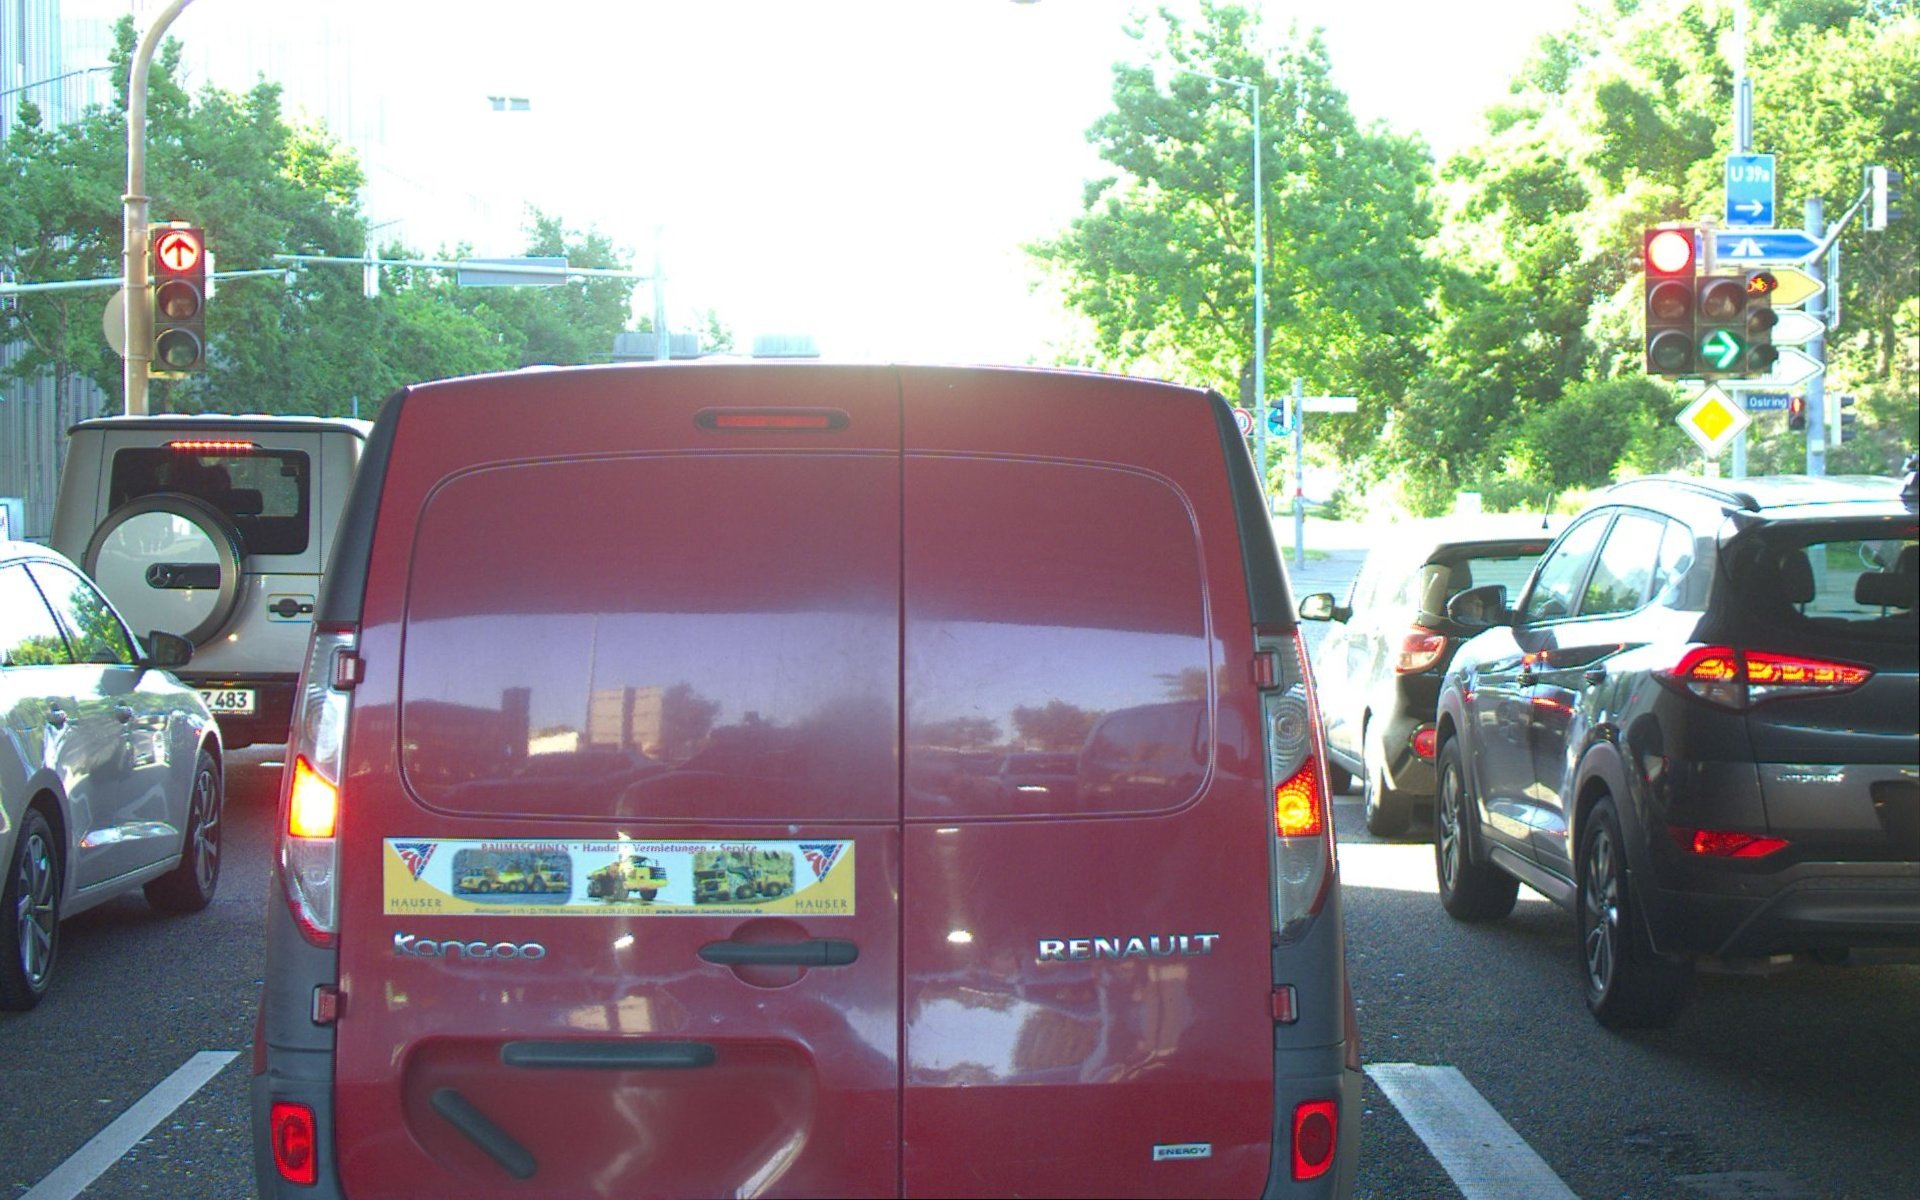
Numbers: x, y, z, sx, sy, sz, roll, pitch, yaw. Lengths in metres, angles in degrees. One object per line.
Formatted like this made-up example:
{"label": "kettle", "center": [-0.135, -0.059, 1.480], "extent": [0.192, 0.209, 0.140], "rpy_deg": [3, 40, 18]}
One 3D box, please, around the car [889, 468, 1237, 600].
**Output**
{"label": "car", "center": [1.305, -0.849, 44.876], "extent": [4.346, 1.602, 2.000], "rpy_deg": [1, 1, -3]}

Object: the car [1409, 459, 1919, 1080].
{"label": "car", "center": [2.686, 0.422, 11.226], "extent": [1.778, 1.650, 3.991], "rpy_deg": [2, 1, -1]}

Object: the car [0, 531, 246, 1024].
{"label": "car", "center": [-3.619, 0.472, 11.511], "extent": [1.692, 1.405, 3.813], "rpy_deg": [1, 1, -1]}

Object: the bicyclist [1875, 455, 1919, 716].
{"label": "bicyclist", "center": [6.188, -0.088, 21.778], "extent": [0.677, 1.623, 0.644], "rpy_deg": [1, 0, 10]}

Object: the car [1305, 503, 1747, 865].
{"label": "car", "center": [2.699, 0.316, 17.172], "extent": [1.652, 1.546, 3.864], "rpy_deg": [1, 2, 2]}

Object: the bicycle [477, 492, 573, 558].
{"label": "bicycle", "center": [-8.121, -1.402, 64.158], "extent": [1.729, 1.229, 0.557], "rpy_deg": [0, 1, -1]}

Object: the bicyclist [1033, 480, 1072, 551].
{"label": "bicyclist", "center": [1.743, -1.583, 64.775], "extent": [0.652, 1.325, 0.603], "rpy_deg": [1, 0, -4]}

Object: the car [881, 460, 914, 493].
{"label": "car", "center": [-4.000, -7.927, 220.644], "extent": [1.993, 2.007, 4.000], "rpy_deg": [1, 1, -1]}

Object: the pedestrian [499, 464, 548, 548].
{"label": "pedestrian", "center": [-8.145, -1.751, 64.145], "extent": [0.836, 1.549, 0.557], "rpy_deg": [0, 1, -1]}

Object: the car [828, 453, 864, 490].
{"label": "car", "center": [-6.761, -7.636, 204.574], "extent": [1.993, 2.007, 4.000], "rpy_deg": [1, 1, -1]}

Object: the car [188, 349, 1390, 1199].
{"label": "car", "center": [-0.273, 0.489, 6.966], "extent": [1.719, 1.758, 4.000], "rpy_deg": [1, 1, -1]}

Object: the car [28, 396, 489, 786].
{"label": "car", "center": [-3.717, -0.082, 18.844], "extent": [1.813, 1.897, 3.814], "rpy_deg": [1, 1, -1]}

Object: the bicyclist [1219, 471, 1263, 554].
{"label": "bicyclist", "center": [5.223, -1.629, 63.976], "extent": [0.755, 1.537, 0.697], "rpy_deg": [0, 1, 0]}

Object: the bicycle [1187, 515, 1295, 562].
{"label": "bicycle", "center": [5.226, -1.145, 63.956], "extent": [1.953, 0.871, 0.699], "rpy_deg": [0, 1, 0]}
